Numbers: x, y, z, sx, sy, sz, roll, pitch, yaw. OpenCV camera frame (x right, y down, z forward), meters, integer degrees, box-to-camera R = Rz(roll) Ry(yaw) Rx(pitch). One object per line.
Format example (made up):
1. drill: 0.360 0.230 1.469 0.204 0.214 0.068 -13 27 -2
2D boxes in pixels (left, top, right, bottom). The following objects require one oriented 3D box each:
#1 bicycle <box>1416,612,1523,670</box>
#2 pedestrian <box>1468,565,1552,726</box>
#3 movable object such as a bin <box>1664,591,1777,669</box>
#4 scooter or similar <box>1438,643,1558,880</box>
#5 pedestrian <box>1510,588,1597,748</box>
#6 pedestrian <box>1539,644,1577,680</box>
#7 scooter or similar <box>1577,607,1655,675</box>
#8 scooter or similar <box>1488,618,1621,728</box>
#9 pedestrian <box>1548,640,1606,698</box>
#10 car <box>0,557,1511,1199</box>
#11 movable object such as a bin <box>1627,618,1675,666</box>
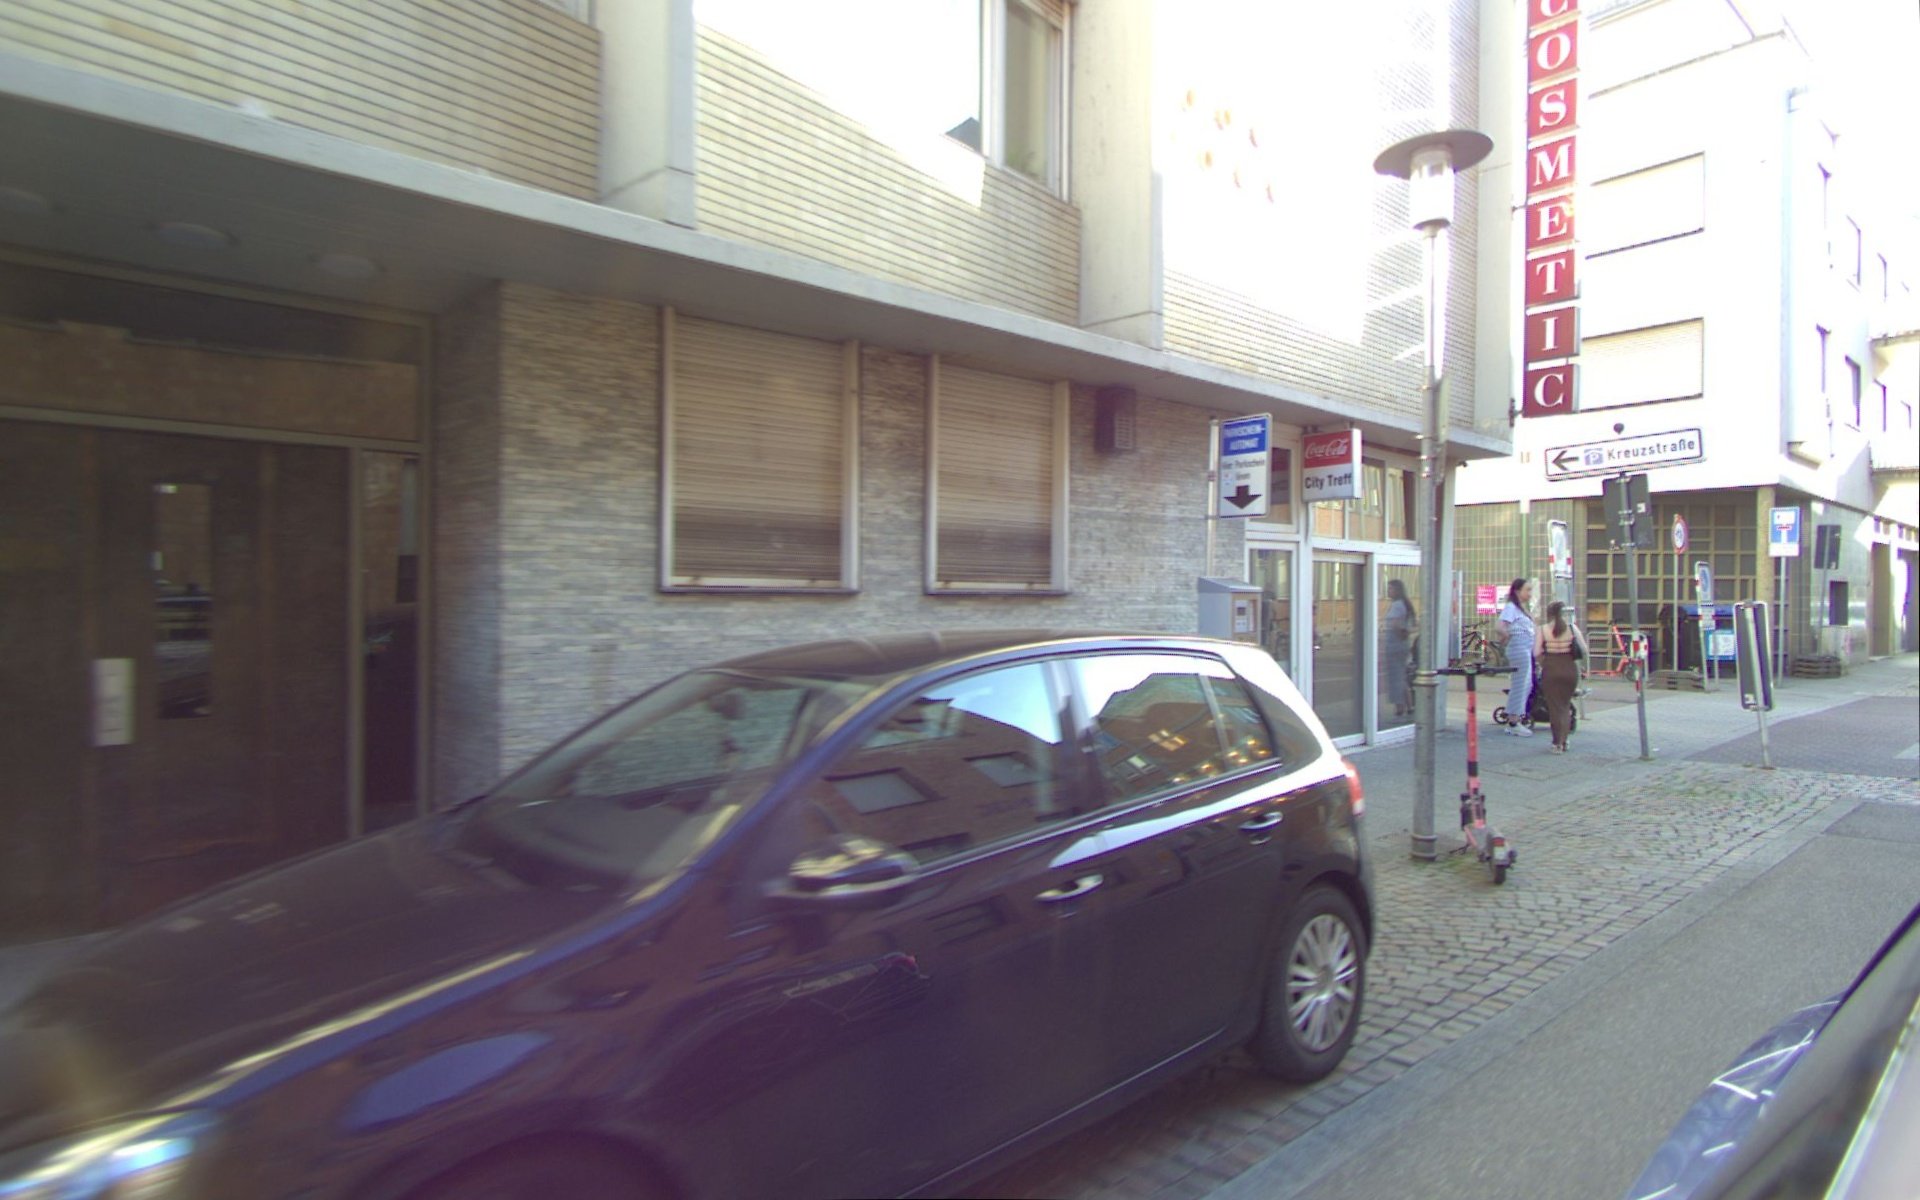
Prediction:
1. bicycle: 10.518 0.829 20.955 0.669 1.141 1.893 0 -1 -35
2. pedestrian: 6.158 0.491 11.360 0.611 1.758 0.626 0 0 4
3. movable object such as a bin: 14.990 0.569 19.991 1.411 1.481 1.126 0 0 9
4. scooter or similar: 3.233 0.902 6.161 0.488 1.209 1.297 0 0 21
5. pedestrian: 6.047 0.669 10.319 0.432 1.559 0.575 1 2 -31
6. pedestrian: 7.140 0.740 12.084 0.308 0.403 0.330 0 0 16
7. scooter or similar: 12.492 0.768 19.275 0.489 1.238 1.161 0 0 -41
8. scooter or similar: 7.023 0.843 12.007 1.026 1.191 0.871 2 0 3
9. pedestrian: 7.160 0.793 11.753 0.502 0.641 0.330 0 0 16
10. car: -0.257 0.746 3.084 4.517 1.524 1.826 0 -3 -40
11. movable object such as a bin: 13.963 0.843 20.459 0.587 0.938 0.606 0 0 9
